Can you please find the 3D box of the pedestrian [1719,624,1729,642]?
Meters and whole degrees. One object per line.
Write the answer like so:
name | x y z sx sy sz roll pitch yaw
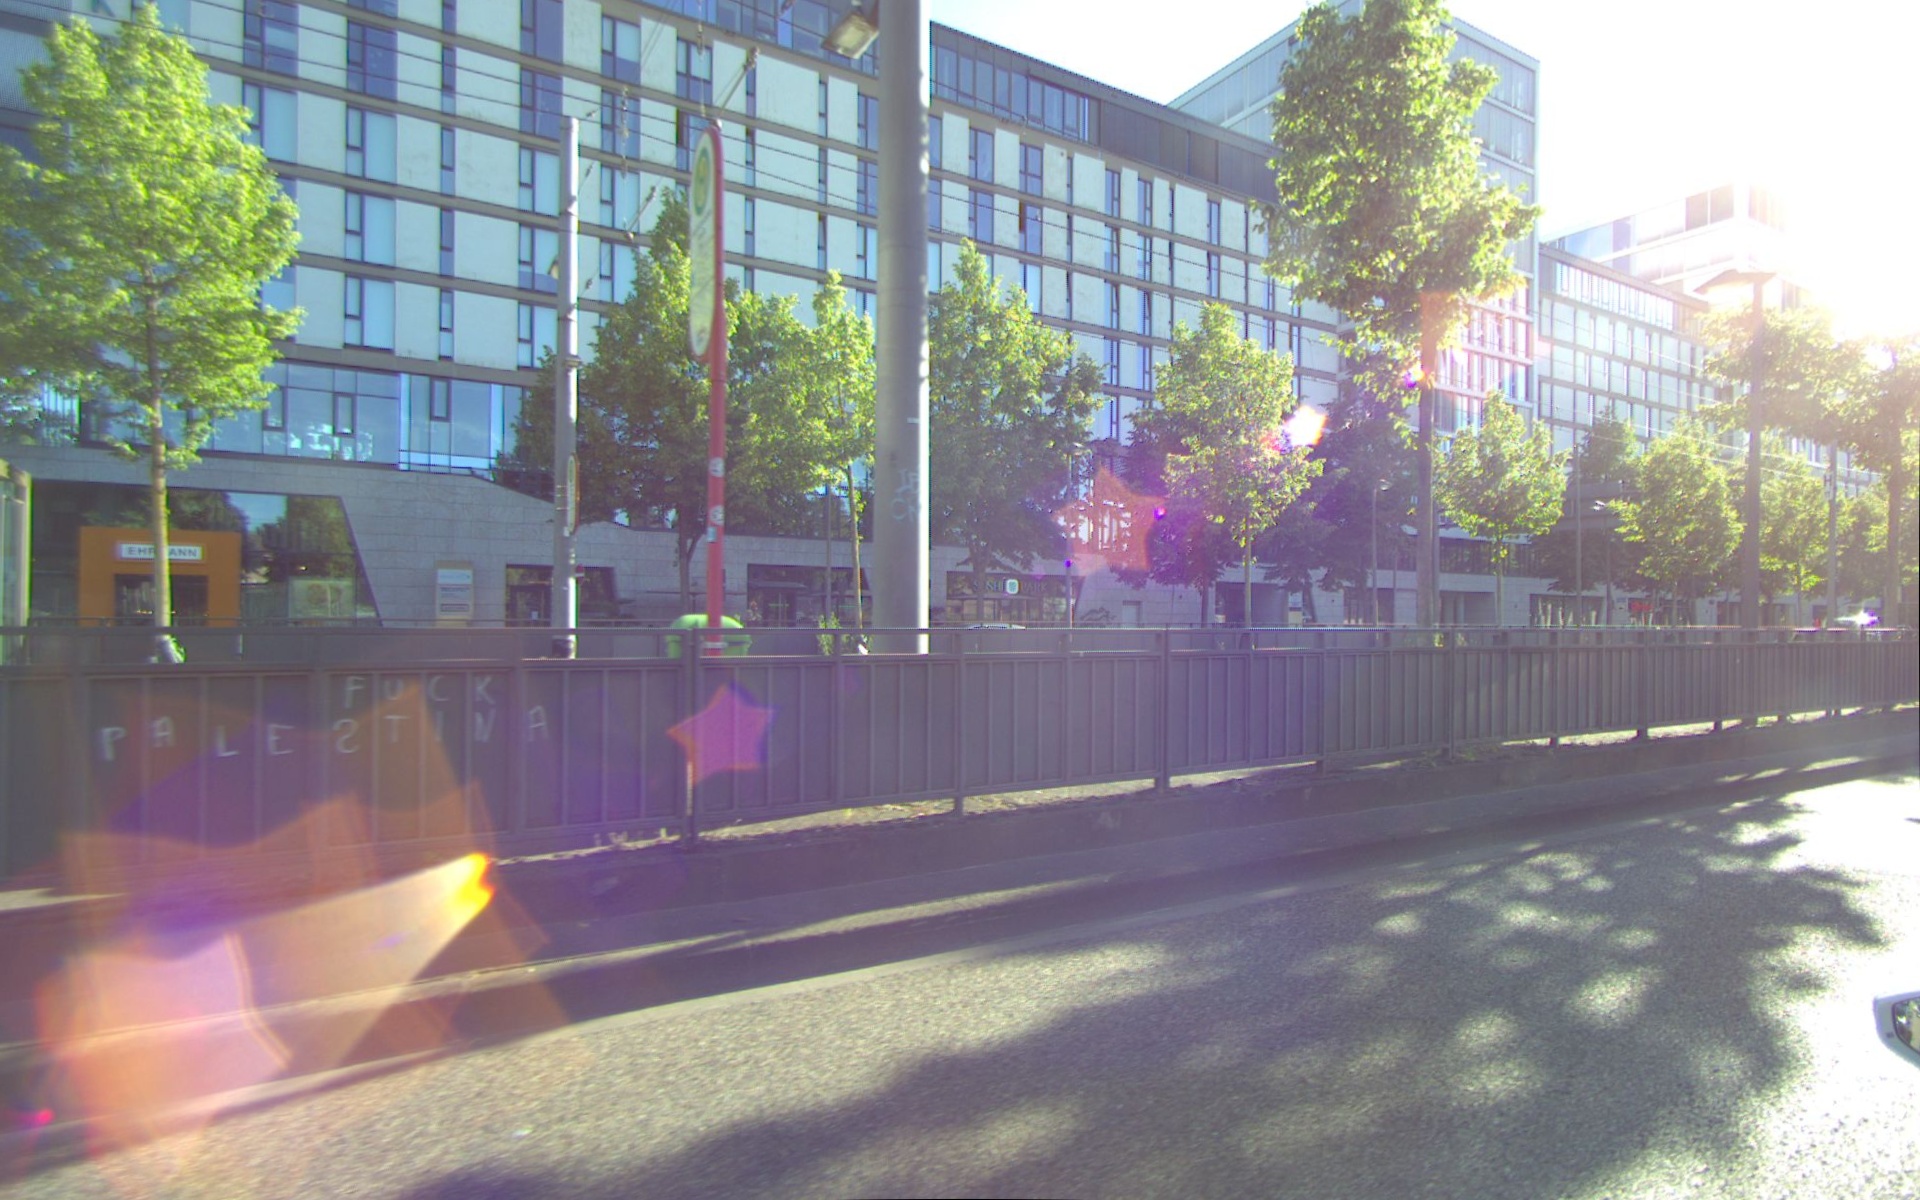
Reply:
pedestrian | 60.958 2.623 80.143 0.682 1.431 0.405 3 -1 -31

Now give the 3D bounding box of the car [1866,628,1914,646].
car | 75.239 2.962 81.242 4.750 1.438 1.659 1 -1 -31

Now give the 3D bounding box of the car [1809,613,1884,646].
car | 49.529 1.684 56.118 4.179 1.773 1.984 2 -2 -31

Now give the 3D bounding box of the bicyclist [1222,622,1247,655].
bicyclist | 12.560 1.764 45.932 0.821 1.483 0.717 1 0 -28

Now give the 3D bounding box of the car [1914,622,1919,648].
car | 60.567 2.162 61.921 3.658 1.541 1.670 1 -1 -31
